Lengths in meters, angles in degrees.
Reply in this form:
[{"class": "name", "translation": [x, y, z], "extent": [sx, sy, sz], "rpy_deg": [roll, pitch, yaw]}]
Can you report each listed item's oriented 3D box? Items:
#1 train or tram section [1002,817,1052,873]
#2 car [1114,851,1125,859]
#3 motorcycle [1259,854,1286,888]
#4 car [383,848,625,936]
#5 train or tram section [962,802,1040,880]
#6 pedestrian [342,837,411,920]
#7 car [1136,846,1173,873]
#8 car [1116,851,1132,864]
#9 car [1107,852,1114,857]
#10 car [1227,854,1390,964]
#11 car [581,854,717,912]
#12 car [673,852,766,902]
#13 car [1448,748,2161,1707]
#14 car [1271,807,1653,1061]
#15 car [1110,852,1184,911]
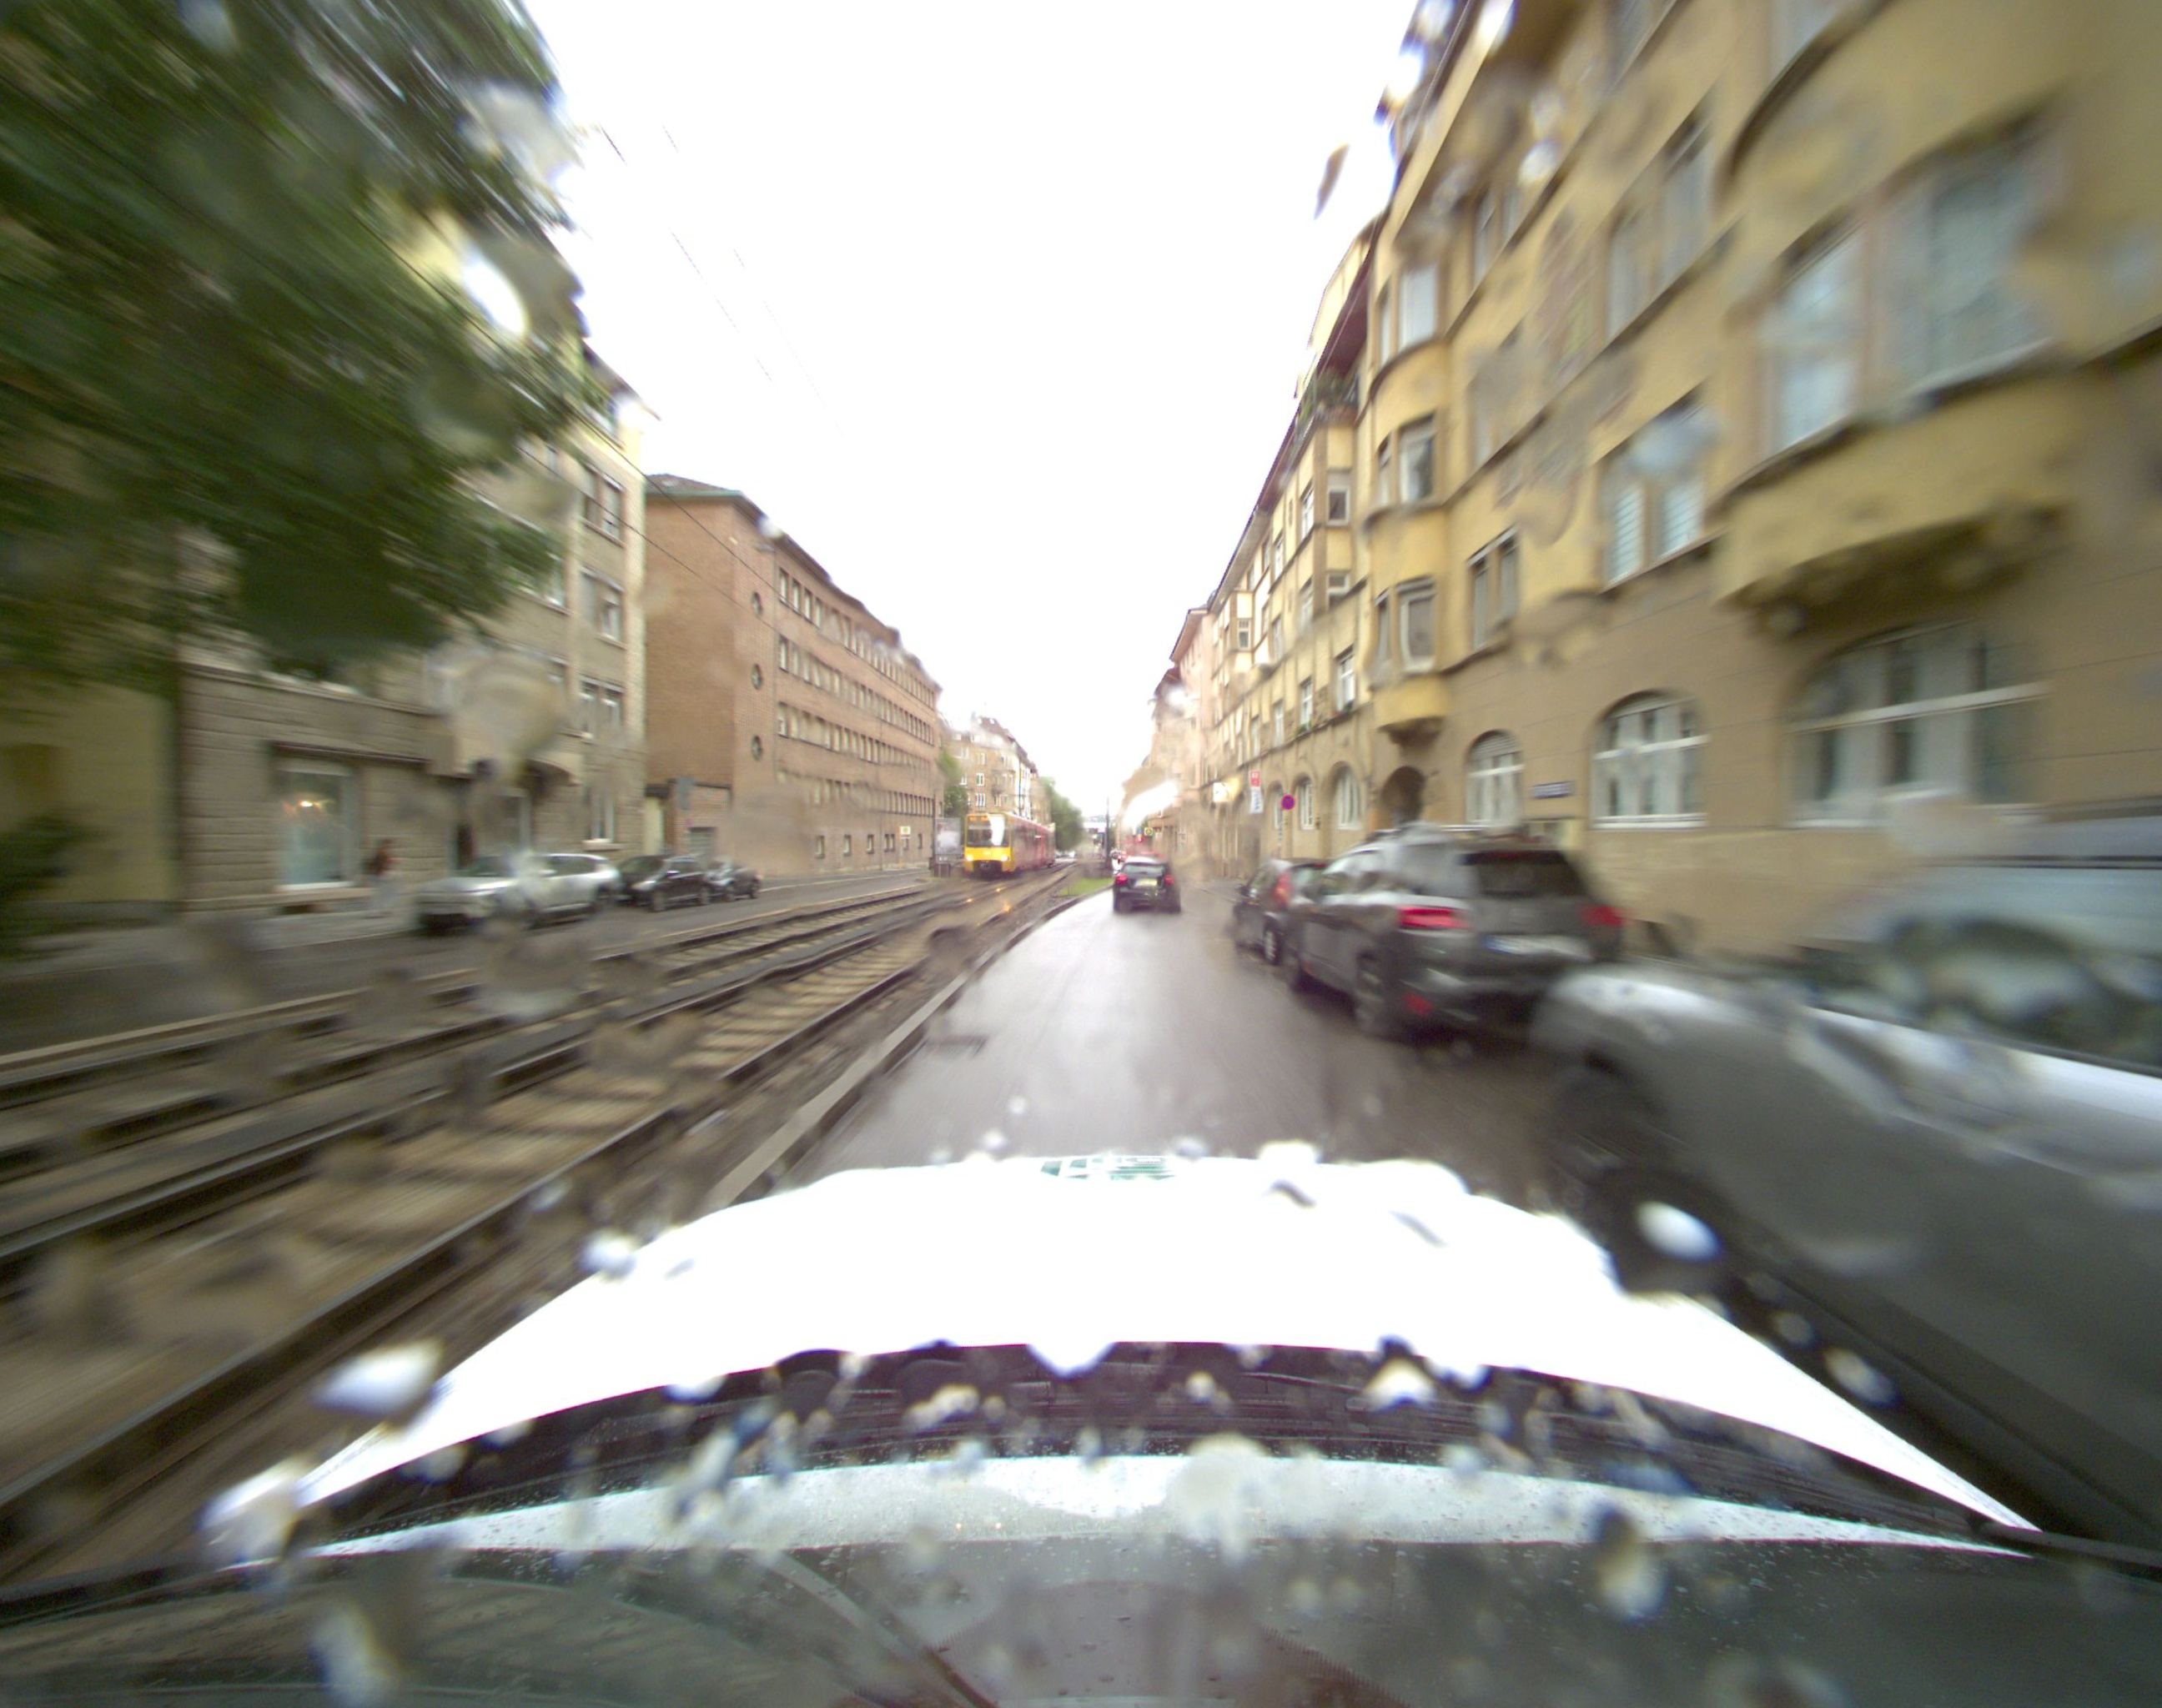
[{"class": "train or tram section", "translation": [-4.223, -0.677, 67.335], "extent": [2.735, 4.061, 15.664], "rpy_deg": [-1, 0, 1]}, {"class": "car", "translation": [7.163, 0.209, 151.723], "extent": [2.126, 1.525, 4.247], "rpy_deg": [0, 0, 2]}, {"class": "motorcycle", "translation": [7.221, 0.627, 30.733], "extent": [0.554, 1.160, 2.271], "rpy_deg": [-5, 0, 4]}, {"class": "car", "translation": [-11.842, 0.680, 17.175], "extent": [1.954, 1.605, 4.329], "rpy_deg": [0, 0, 1]}, {"class": "train or tram section", "translation": [-4.607, -0.703, 50.964], "extent": [2.735, 4.061, 17.218], "rpy_deg": [-1, 0, 1]}, {"class": "pedestrian", "translation": [-14.425, 0.496, 16.702], "extent": [0.725, 1.663, 0.771], "rpy_deg": [0, 0, 1]}, {"class": "car", "translation": [4.347, 0.309, 48.774], "extent": [1.986, 1.525, 4.247], "rpy_deg": [0, 0, 2]}, {"class": "car", "translation": [5.380, 0.440, 100.732], "extent": [1.879, 1.525, 4.250], "rpy_deg": [0, 0, 4]}, {"class": "car", "translation": [8.997, 0.194, 245.802], "extent": [2.126, 1.525, 4.247], "rpy_deg": [0, 0, 2]}, {"class": "car", "translation": [3.345, 0.759, 12.567], "extent": [1.586, 1.440, 3.309], "rpy_deg": [1, -1, 0]}, {"class": "car", "translation": [-11.637, 0.731, 22.232], "extent": [1.660, 1.415, 3.688], "rpy_deg": [0, 0, 1]}, {"class": "car", "translation": [-11.464, 0.681, 25.995], "extent": [1.567, 1.466, 3.045], "rpy_deg": [0, 0, 0]}, {"class": "car", "translation": [2.708, 0.627, 1.899], "extent": [1.833, 1.608, 4.765], "rpy_deg": [-1, -1, 4]}, {"class": "car", "translation": [3.177, 0.582, 7.951], "extent": [1.771, 1.750, 4.551], "rpy_deg": [-1, -1, 3]}, {"class": "car", "translation": [1.728, 0.702, 22.383], "extent": [1.827, 1.453, 3.903], "rpy_deg": [0, 0, 2]}]
